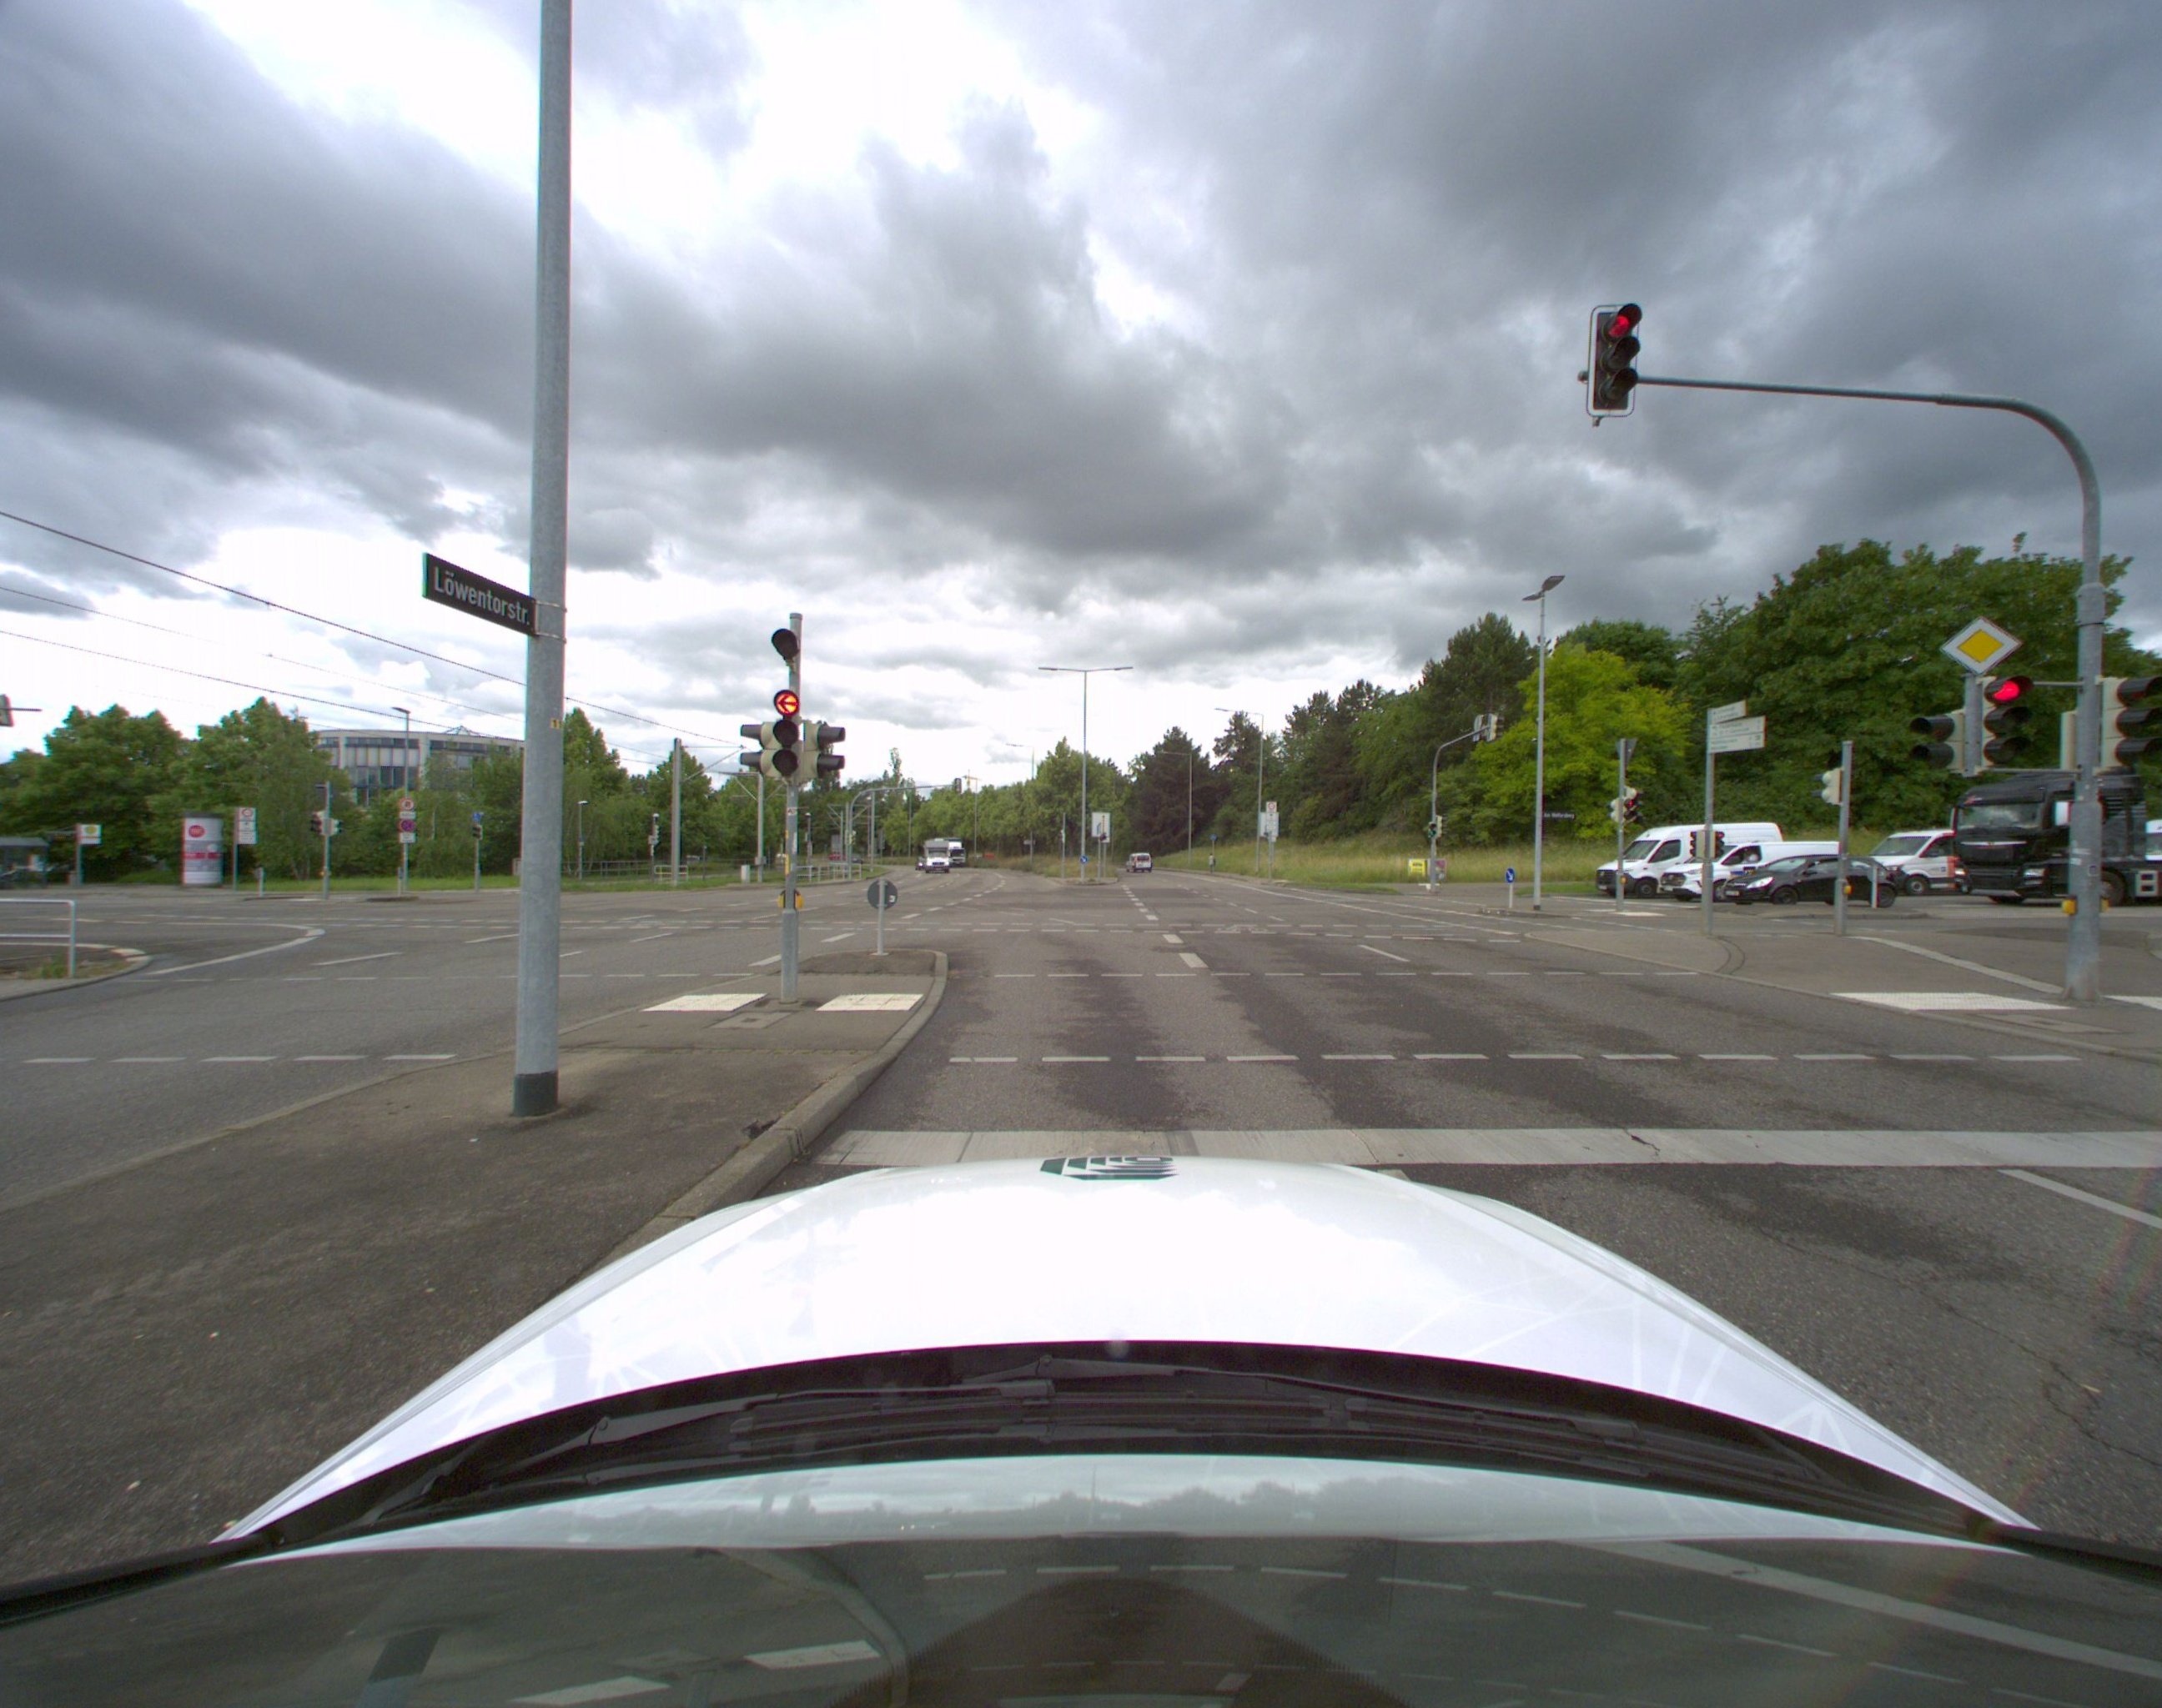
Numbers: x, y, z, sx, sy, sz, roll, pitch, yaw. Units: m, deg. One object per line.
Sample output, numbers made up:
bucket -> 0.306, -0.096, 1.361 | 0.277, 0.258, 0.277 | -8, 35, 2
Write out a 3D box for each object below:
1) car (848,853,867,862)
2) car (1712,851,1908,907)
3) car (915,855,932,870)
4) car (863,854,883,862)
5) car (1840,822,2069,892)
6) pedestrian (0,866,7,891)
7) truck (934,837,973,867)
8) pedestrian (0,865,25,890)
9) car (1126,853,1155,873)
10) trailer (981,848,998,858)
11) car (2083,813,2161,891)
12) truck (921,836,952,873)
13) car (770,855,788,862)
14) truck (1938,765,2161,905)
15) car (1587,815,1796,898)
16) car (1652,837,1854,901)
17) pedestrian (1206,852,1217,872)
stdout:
car -> -38.909, 0.581, 141.695 | 1.795, 1.446, 4.478 | -3, 2, -36
car -> 20.279, 0.667, 22.771 | 3.905, 1.436, 1.732 | -1, 0, 1
car -> -17.295, 0.920, 89.467 | 1.782, 1.446, 4.510 | -2, 2, -12
car -> -40.838, 0.734, 160.112 | 3.973, 1.546, 1.795 | 0, 0, 40
car -> 30.681, 0.107, 28.762 | 5.677, 2.289, 2.136 | -1, 0, 2
pedestrian -> -57.727, 1.298, 43.212 | 0.774, 1.303, 0.666 | 0, 0, 15
truck -> -17.037, -0.242, 107.965 | 3.057, 3.760, 12.733 | 0, -1, -18
pedestrian -> -56.476, 1.215, 42.975 | 0.774, 1.304, 0.666 | 0, 0, 15
car -> 5.662, 0.842, 78.040 | 1.991, 1.802, 4.830 | -1, -1, -5
trailer -> -14.681, -0.107, 130.719 | 1.774, 1.616, 3.018 | -1, 0, -26
car -> 39.722, -0.132, 28.487 | 6.473, 2.609, 2.197 | -1, 0, 2
truck -> -12.934, 0.053, 72.706 | 2.120, 3.135, 5.868 | 0, -1, -16
car -> -65.407, 0.910, 176.389 | 3.973, 1.546, 1.795 | 0, 0, 33
truck -> 27.933, -0.518, 22.268 | 6.027, 3.538, 2.729 | -1, 0, 2
car -> 21.896, 0.093, 29.408 | 5.870, 2.781, 2.136 | -1, 0, 2
car -> 21.590, 0.455, 26.328 | 4.836, 1.896, 2.034 | -1, 0, 1
pedestrian -> 10.772, 0.654, 67.125 | 0.811, 1.627, 0.791 | 0, 0, 1
